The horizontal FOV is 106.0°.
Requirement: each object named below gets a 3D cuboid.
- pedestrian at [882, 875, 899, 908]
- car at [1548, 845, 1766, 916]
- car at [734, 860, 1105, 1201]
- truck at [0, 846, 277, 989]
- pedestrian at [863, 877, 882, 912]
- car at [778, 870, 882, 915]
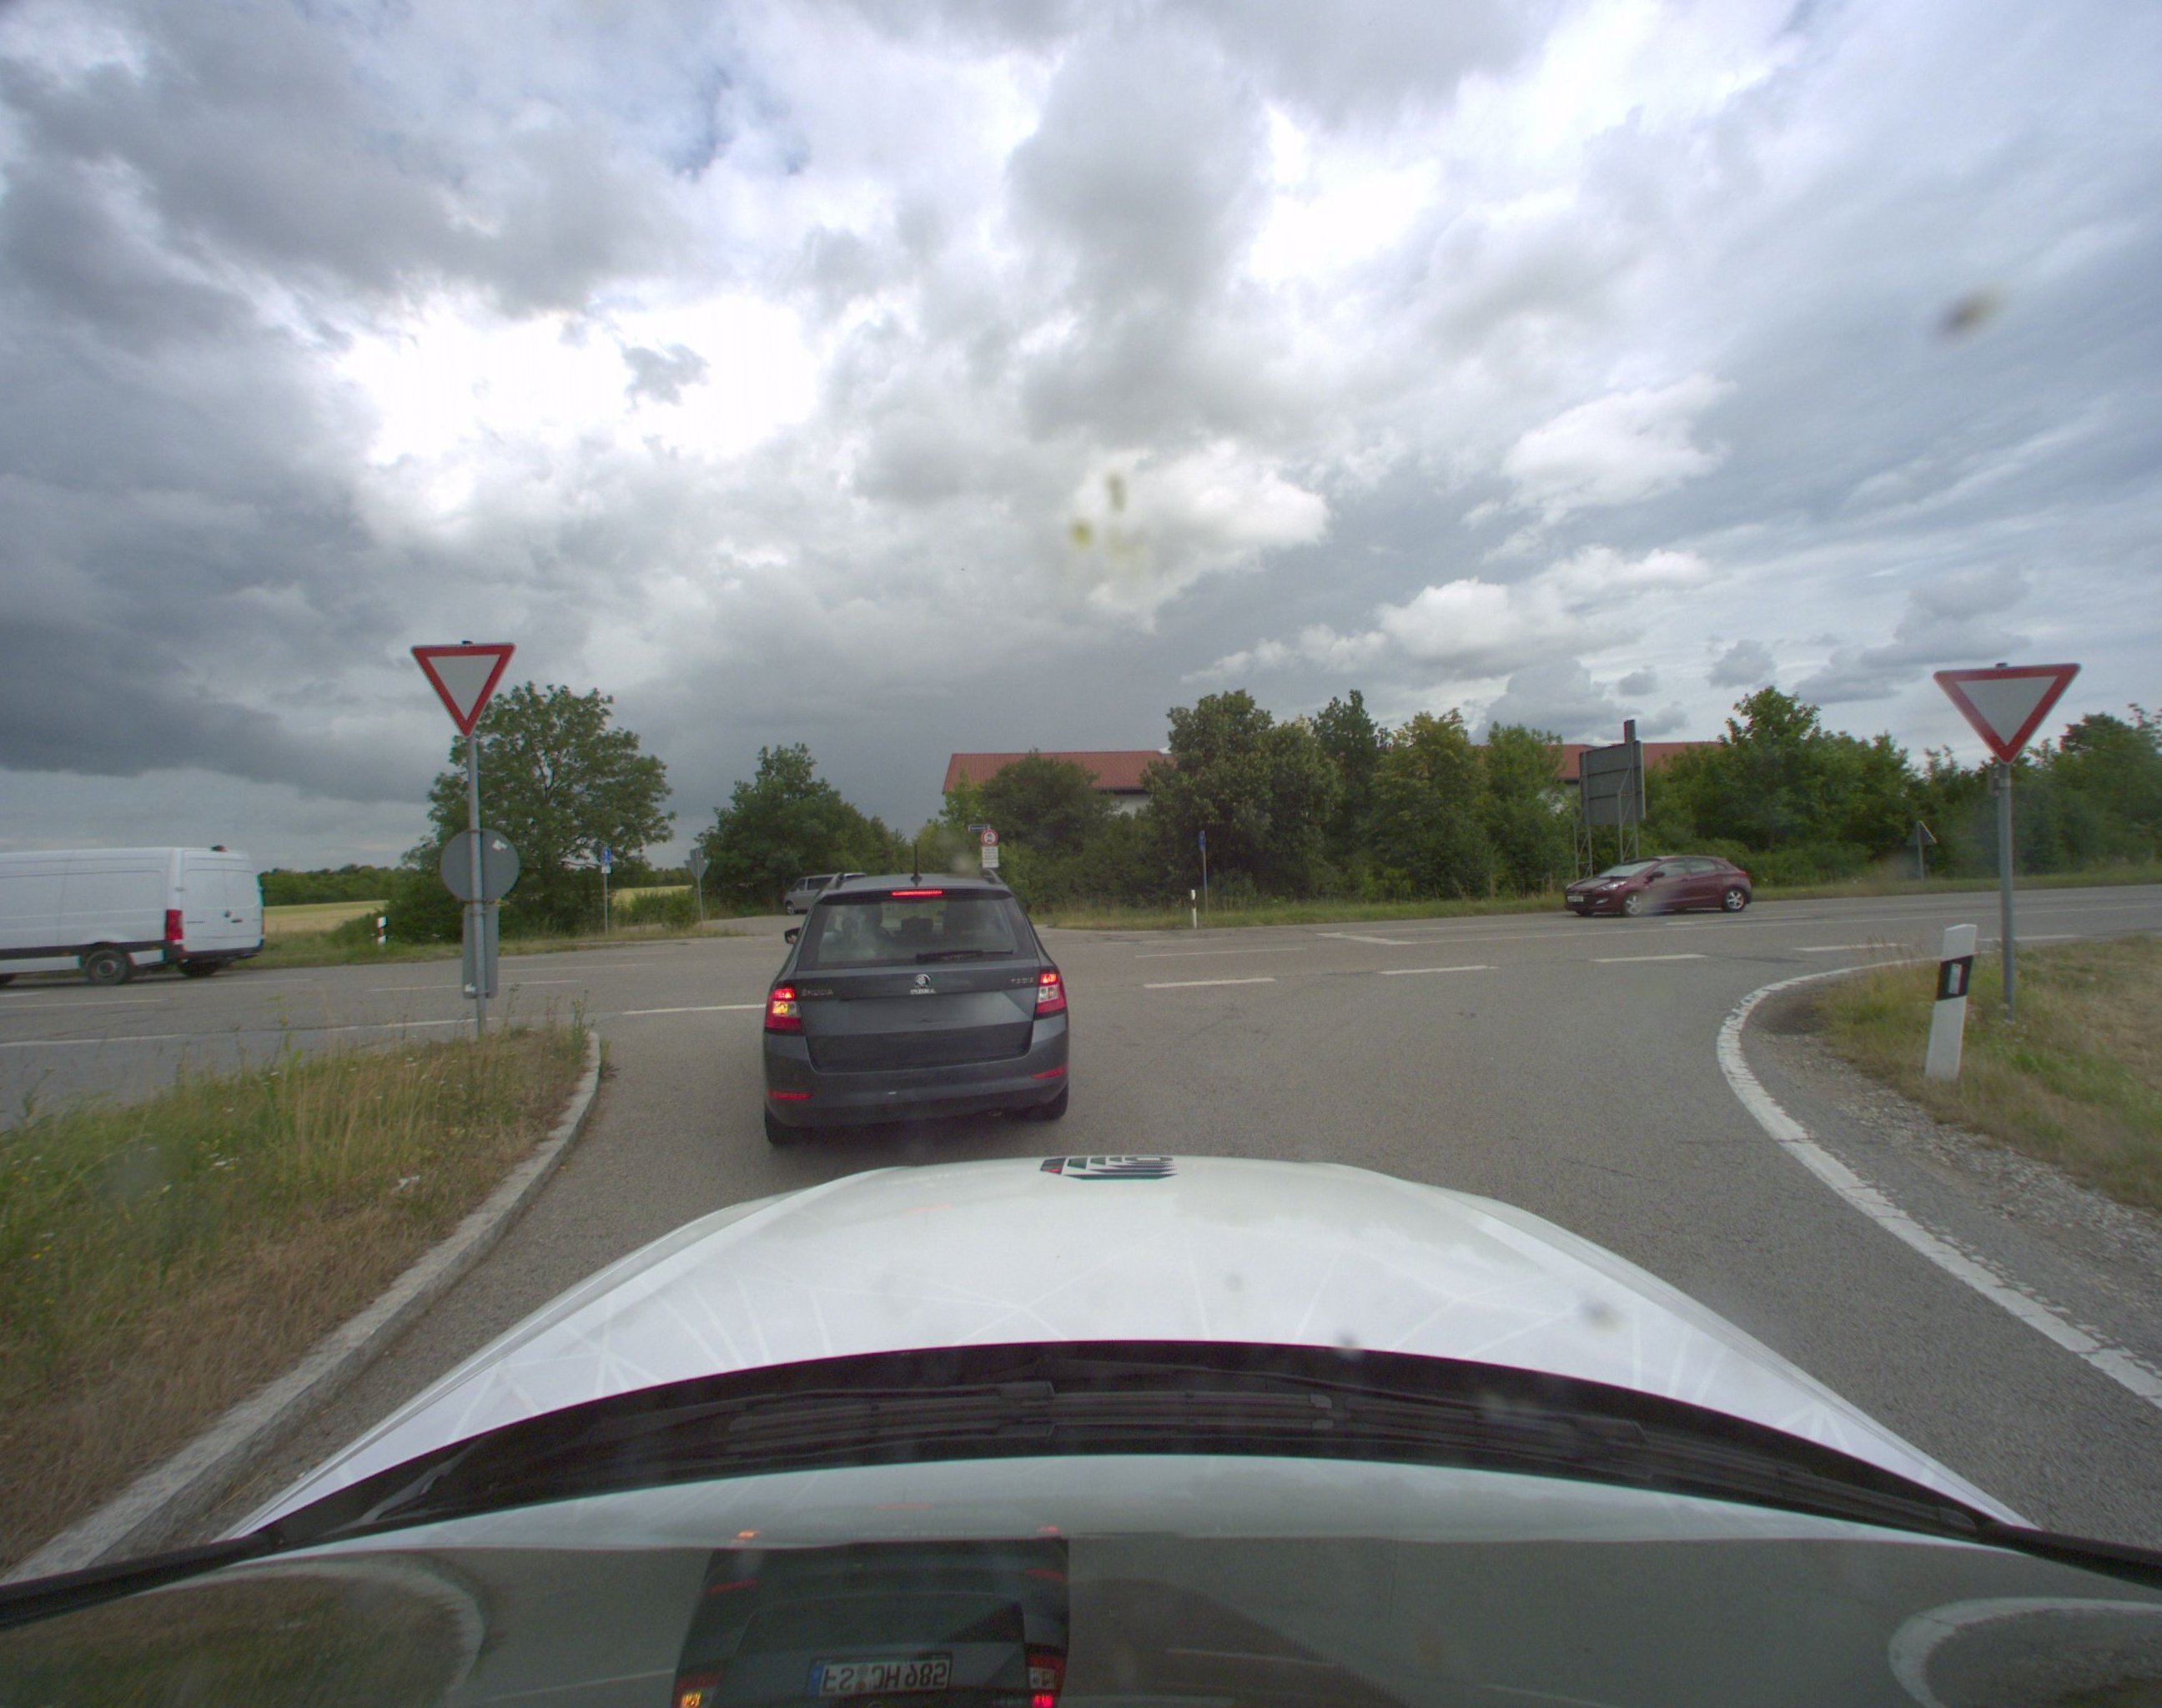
[{"bbox_3d":[-9.941,1.967,42.426,0.578,1.682,0.569,-3,0,20],"label":"pedestrian"},{"bbox_3d":[14.196,0.643,20.197,4.145,1.464,1.994,-3,-1,-8],"label":"car"},{"bbox_3d":[-1.148,0.818,5.610,1.679,1.463,3.689,-1,-1,-14],"label":"car"},{"bbox_3d":[-20.225,1.259,16.190,5.993,2.576,1.994,-2,-2,-8],"label":"truck"},{"bbox_3d":[-10.402,2.020,40.702,0.523,1.725,0.646,-3,0,32],"label":"pedestrian"},{"bbox_3d":[-12.697,1.947,41.156,4.851,2.013,2.357,-3,0,33],"label":"car"}]
